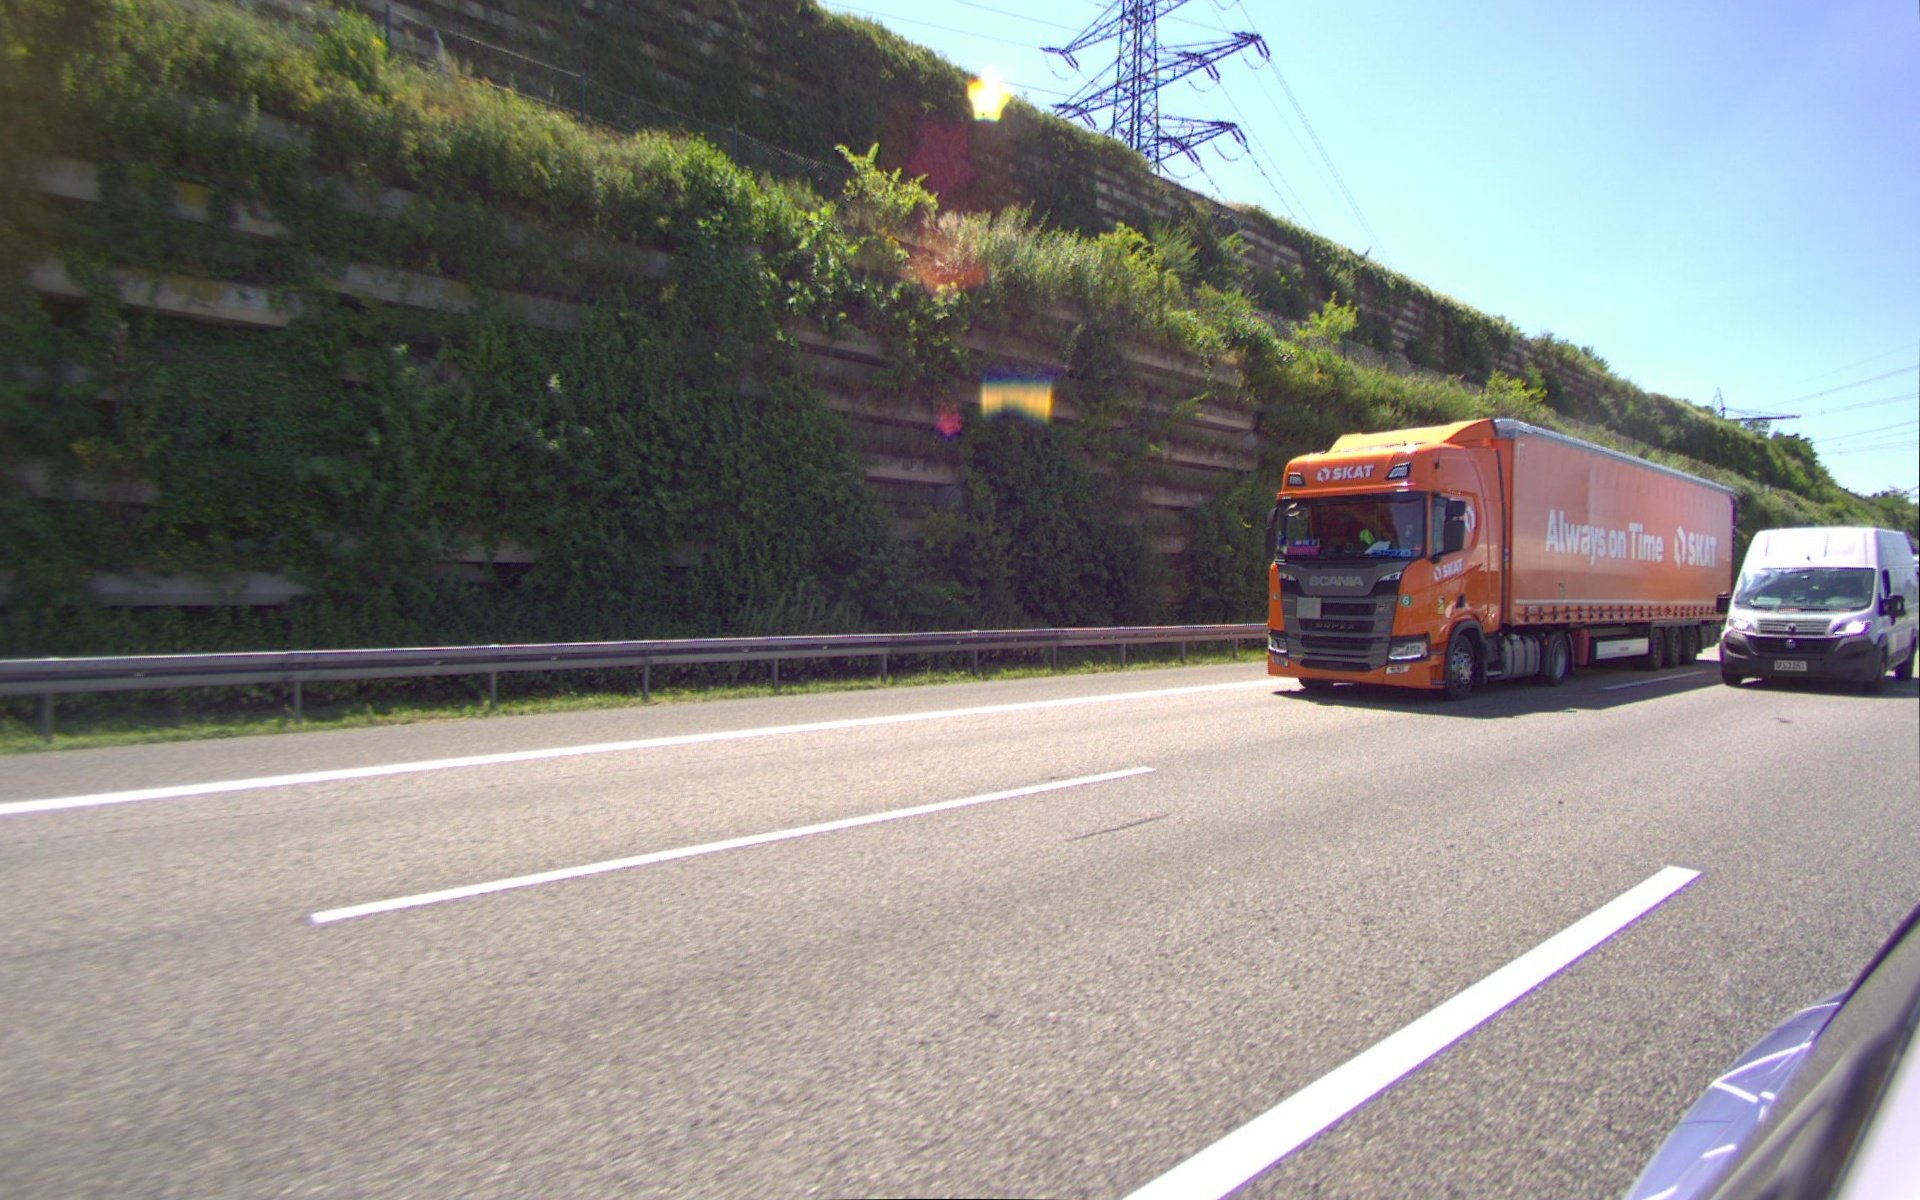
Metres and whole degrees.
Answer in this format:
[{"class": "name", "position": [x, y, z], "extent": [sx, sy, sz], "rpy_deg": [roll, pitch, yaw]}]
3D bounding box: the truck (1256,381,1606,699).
[{"class": "truck", "position": [7.635, -0.804, 16.003], "extent": [6.412, 4.042, 2.622], "rpy_deg": [0, 1, -41]}]

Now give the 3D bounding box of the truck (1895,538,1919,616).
[{"class": "truck", "position": [55.684, -1.293, 57.915], "extent": [6.147, 4.272, 2.512], "rpy_deg": [0, 2, -41]}]

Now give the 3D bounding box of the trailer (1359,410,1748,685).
[{"class": "trailer", "position": [12.587, -0.825, 20.347], "extent": [13.368, 4.055, 2.650], "rpy_deg": [0, 1, -41]}]

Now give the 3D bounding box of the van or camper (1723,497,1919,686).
[{"class": "van or camper", "position": [15.701, -0.156, 18.020], "extent": [6.640, 2.803, 2.100], "rpy_deg": [0, 1, -42]}]

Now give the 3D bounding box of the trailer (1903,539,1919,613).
[{"class": "trailer", "position": [61.980, -1.396, 63.531], "extent": [16.733, 4.264, 2.518], "rpy_deg": [0, 1, -42]}]
